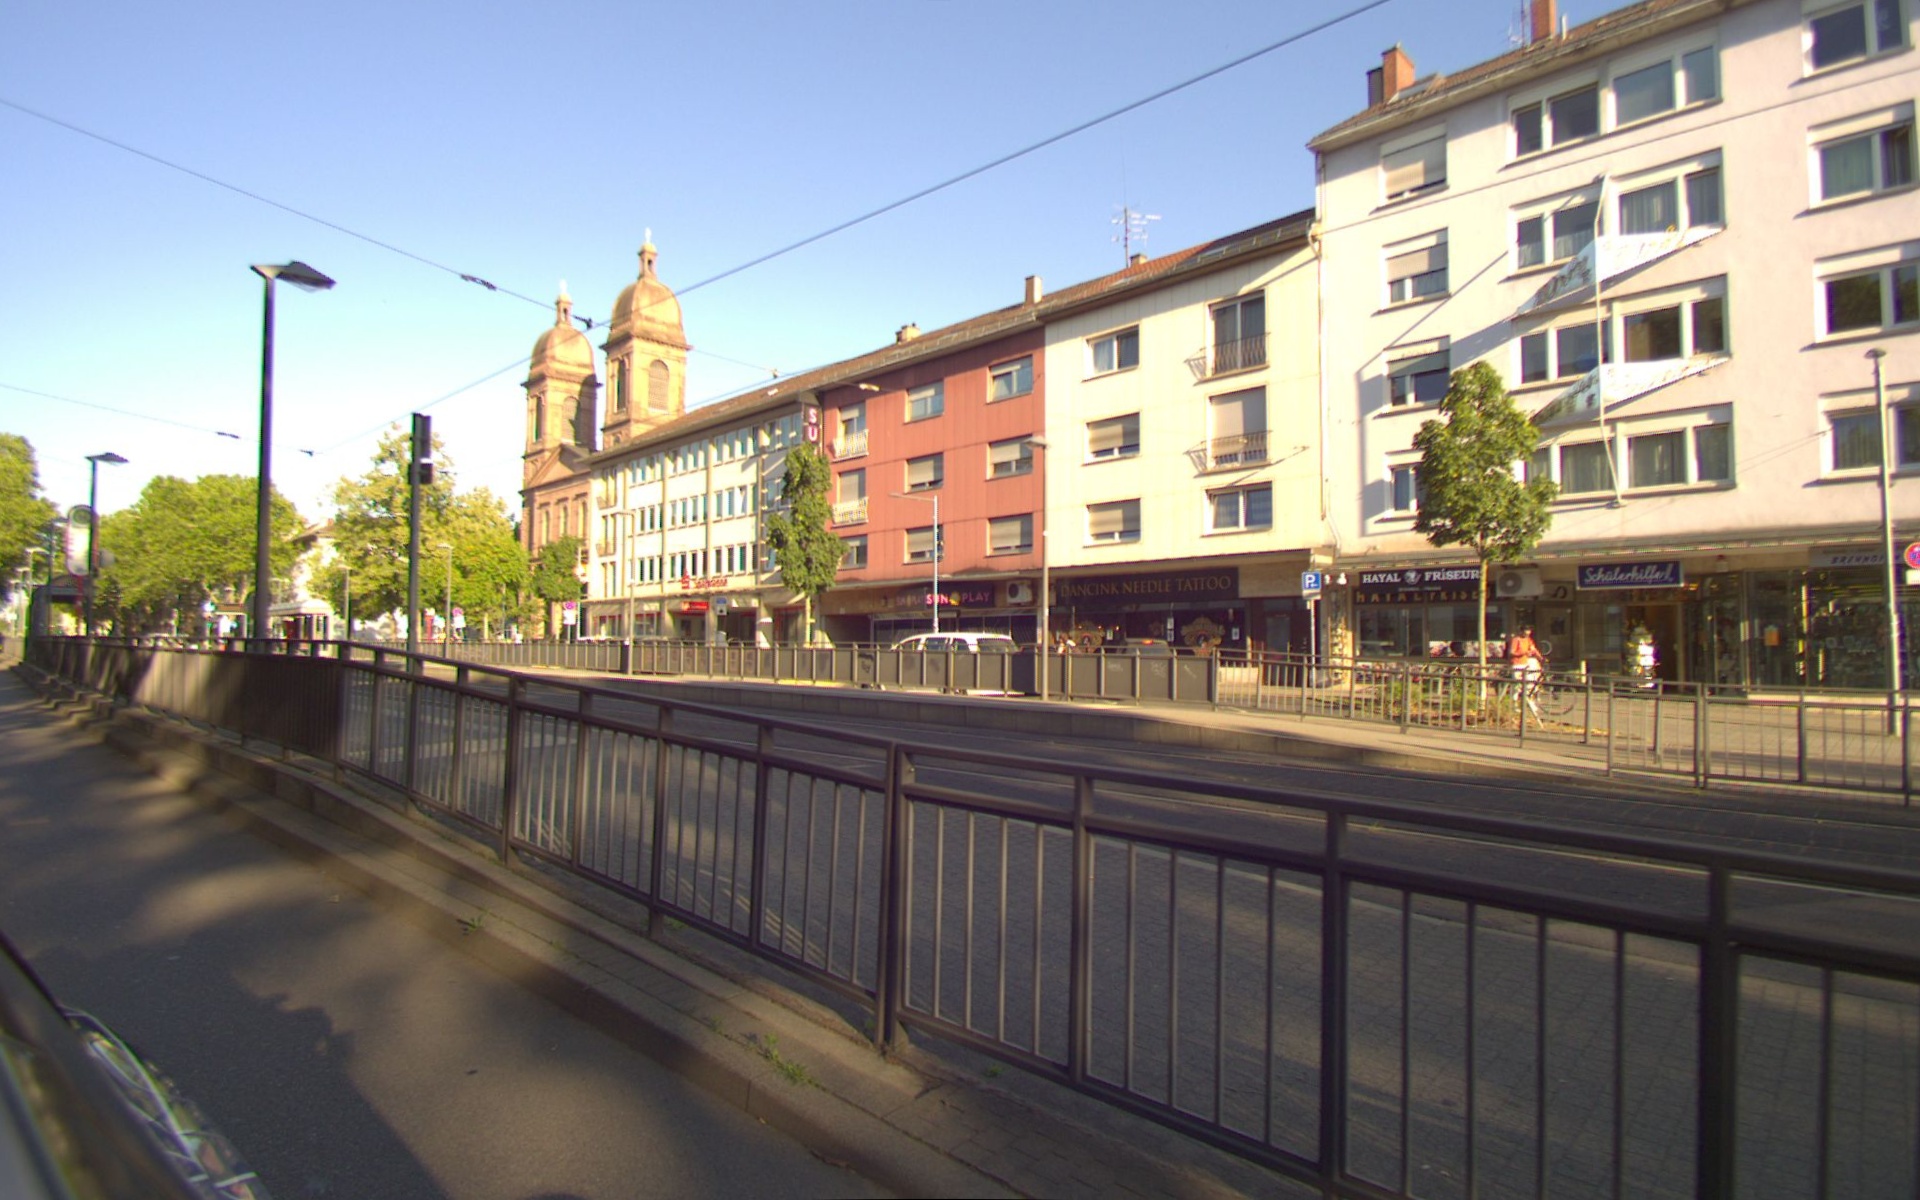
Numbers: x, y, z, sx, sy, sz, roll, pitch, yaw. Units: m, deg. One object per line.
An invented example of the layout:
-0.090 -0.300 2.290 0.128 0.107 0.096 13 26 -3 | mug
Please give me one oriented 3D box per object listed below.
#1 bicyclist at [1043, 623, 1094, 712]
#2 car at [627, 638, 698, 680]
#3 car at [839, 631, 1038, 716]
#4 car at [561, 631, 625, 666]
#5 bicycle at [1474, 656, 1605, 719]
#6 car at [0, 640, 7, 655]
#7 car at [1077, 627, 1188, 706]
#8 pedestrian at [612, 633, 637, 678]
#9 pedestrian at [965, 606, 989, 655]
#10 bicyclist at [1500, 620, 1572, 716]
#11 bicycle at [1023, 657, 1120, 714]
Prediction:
2.542 1.566 23.651 0.911 2.029 0.755 -2 -4 44 | bicyclist
-12.487 2.439 42.740 1.843 1.541 4.000 -1 -1 0 | car
-0.557 1.595 23.042 4.436 1.730 1.971 -2 -3 43 | car
-17.283 2.256 47.832 1.718 1.497 4.002 -1 -1 -3 | car
11.696 1.735 20.494 0.696 1.168 2.203 2 -3 -37 | bicycle
-92.064 4.507 96.269 3.998 1.409 1.696 -1 -1 41 | car
4.475 1.690 26.867 1.835 1.813 3.776 -1 0 -7 | car
-13.773 2.288 41.592 0.758 1.801 0.725 -1 -1 2 | pedestrian
0.671 1.197 39.465 0.589 1.863 0.734 -2 -3 39 | pedestrian
11.680 1.364 20.546 0.683 1.901 1.060 3 -4 -37 | bicyclist
2.578 1.958 23.592 2.279 1.239 0.710 -2 -4 44 | bicycle
